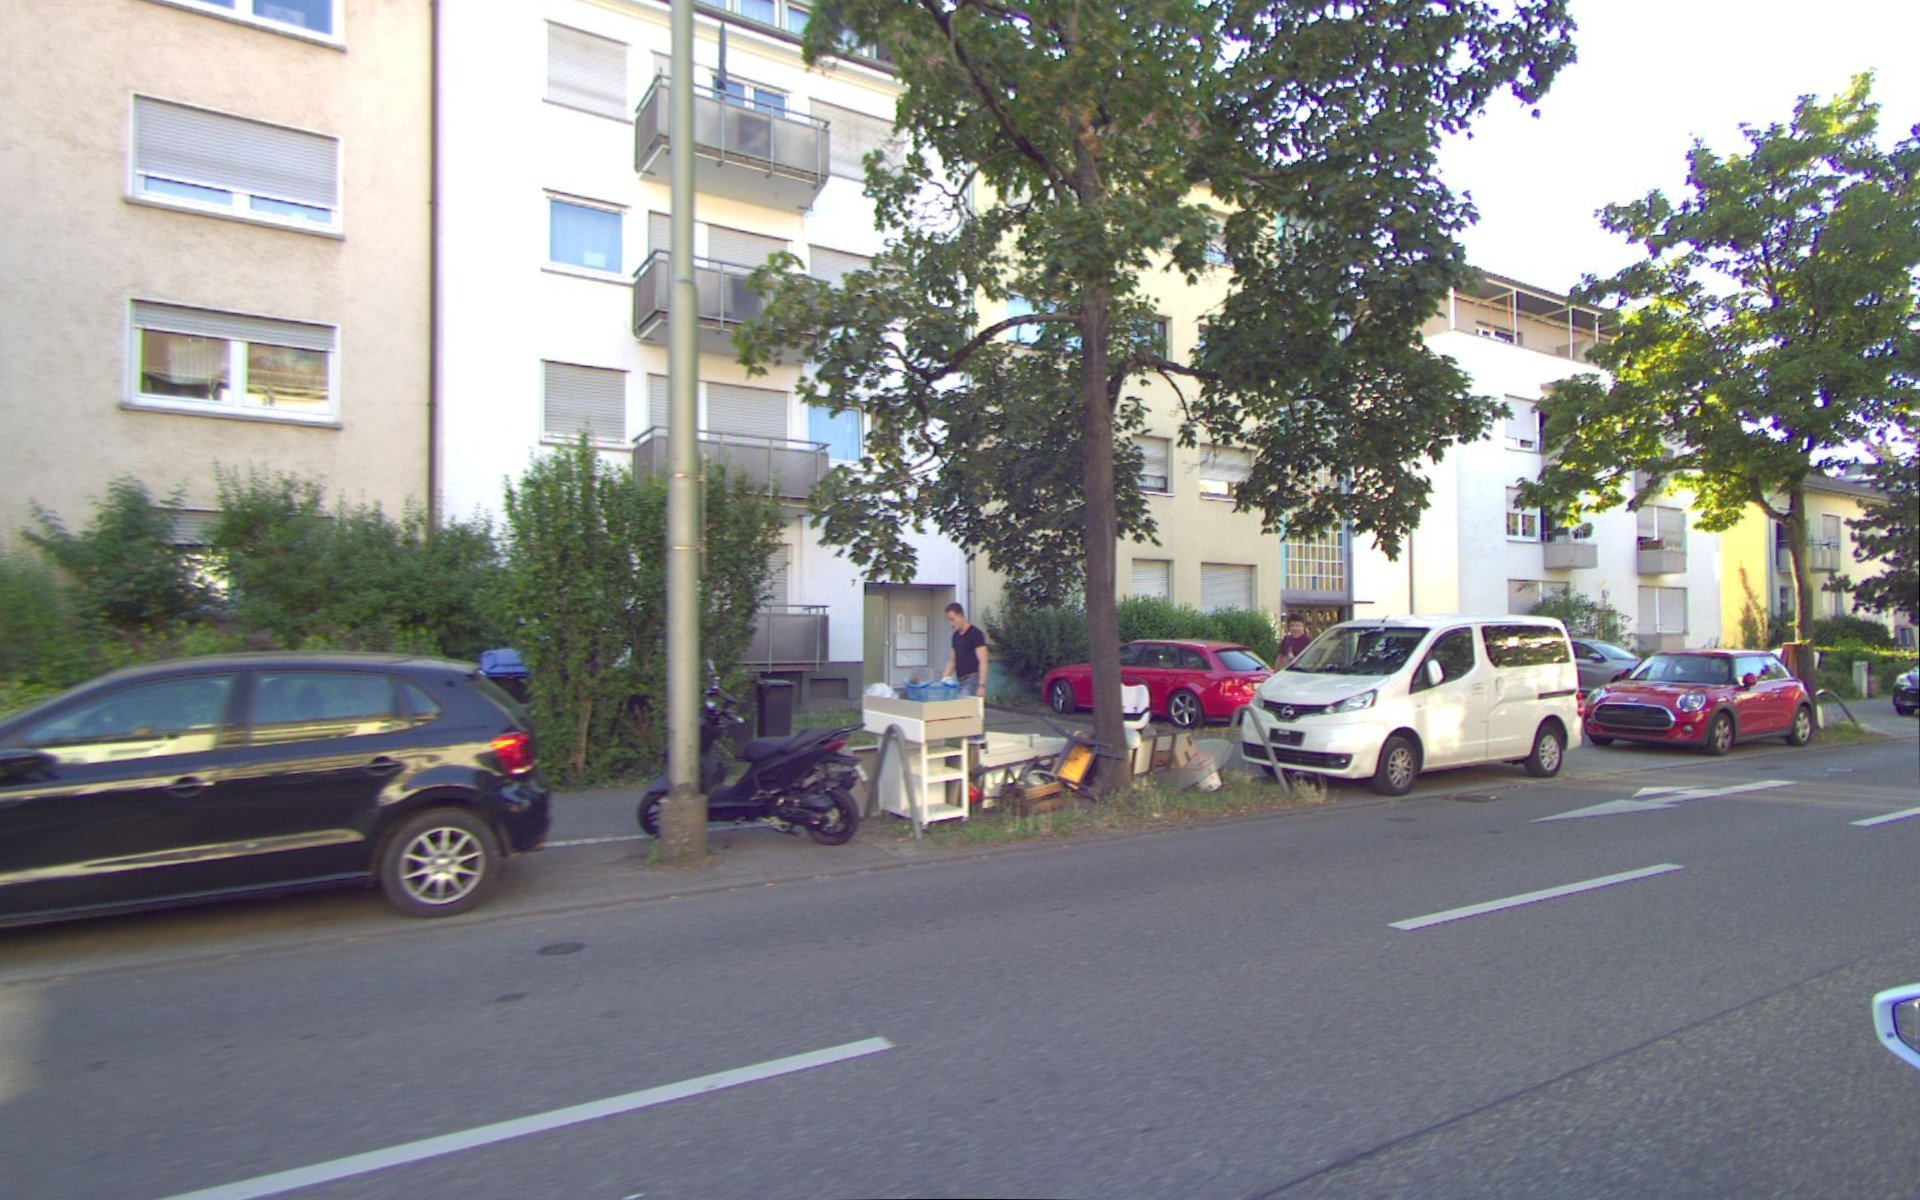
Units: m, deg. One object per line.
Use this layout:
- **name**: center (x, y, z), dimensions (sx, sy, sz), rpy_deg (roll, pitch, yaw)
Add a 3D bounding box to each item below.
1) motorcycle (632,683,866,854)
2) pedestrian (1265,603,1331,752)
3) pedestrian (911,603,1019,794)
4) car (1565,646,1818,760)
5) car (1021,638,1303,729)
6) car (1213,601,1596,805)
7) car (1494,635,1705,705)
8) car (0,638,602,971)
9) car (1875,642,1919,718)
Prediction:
- **motorcycle**: center (-1.583, 1.247, 7.591), dimensions (1.672, 1.207, 0.442), rpy_deg (-1, -2, 7)
- **pedestrian**: center (4.783, 1.079, 14.224), dimensions (0.609, 2.040, 0.623), rpy_deg (1, -2, -31)
- **pedestrian**: center (0.047, 1.073, 11.344), dimensions (0.965, 2.040, 0.763), rpy_deg (1, -2, -31)
- **car**: center (10.907, 1.434, 14.946), dimensions (3.742, 1.439, 1.709), rpy_deg (1, -2, -31)
- **car**: center (3.449, 1.380, 17.875), dimensions (1.986, 1.380, 4.667), rpy_deg (1, -2, -43)
- **car**: center (5.139, 1.035, 11.466), dimensions (4.408, 1.944, 1.761), rpy_deg (1, -2, -31)
- **car**: center (15.669, 1.643, 24.801), dimensions (1.979, 1.498, 3.963), rpy_deg (1, -1, -33)
- **car**: center (-4.279, 0.995, 5.801), dimensions (3.932, 1.522, 1.742), rpy_deg (1, -2, -31)
- **car**: center (21.185, 1.641, 21.137), dimensions (4.198, 1.517, 1.709), rpy_deg (1, -2, -31)
